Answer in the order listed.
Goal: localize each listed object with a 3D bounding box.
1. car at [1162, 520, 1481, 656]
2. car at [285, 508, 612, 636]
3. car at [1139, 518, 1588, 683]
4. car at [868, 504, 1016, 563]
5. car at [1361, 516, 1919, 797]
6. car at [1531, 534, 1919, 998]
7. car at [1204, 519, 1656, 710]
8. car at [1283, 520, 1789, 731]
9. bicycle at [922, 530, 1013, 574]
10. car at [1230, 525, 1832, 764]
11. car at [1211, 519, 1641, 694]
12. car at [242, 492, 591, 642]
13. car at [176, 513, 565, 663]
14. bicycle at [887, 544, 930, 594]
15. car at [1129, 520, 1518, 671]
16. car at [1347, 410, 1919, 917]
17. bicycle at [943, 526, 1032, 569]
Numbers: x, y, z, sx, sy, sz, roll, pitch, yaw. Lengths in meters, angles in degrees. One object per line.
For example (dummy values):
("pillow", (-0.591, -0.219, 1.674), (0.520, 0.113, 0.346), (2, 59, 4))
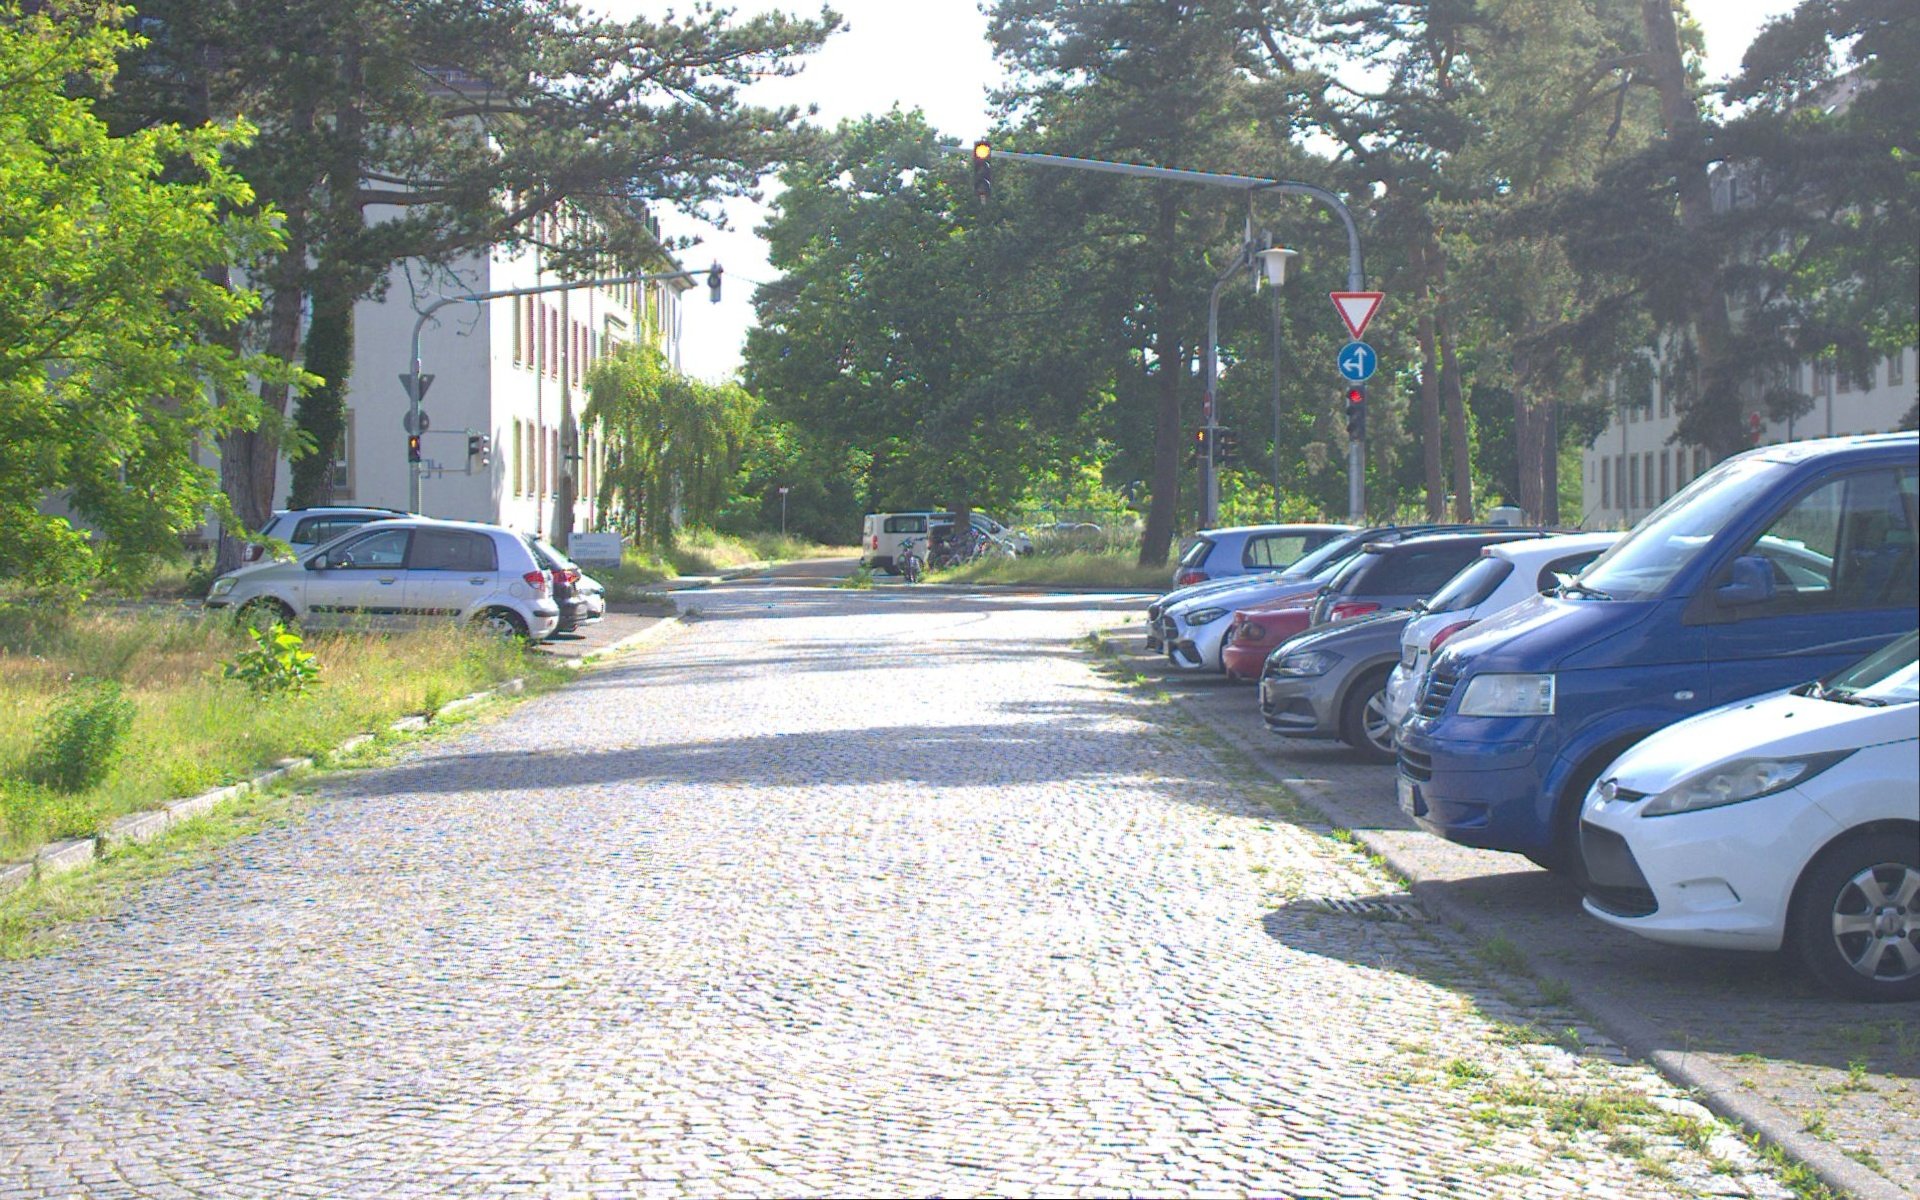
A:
("car", (4.001, -0.151, 38.402), (3.343, 1.477, 1.646), (0, 1, -2))
("car", (-6.703, -0.390, 45.366), (3.987, 1.448, 2.000), (3, 1, -1))
("car", (3.827, -0.017, 32.990), (4.033, 1.524, 1.646), (0, 1, -4))
("car", (-0.562, -2.035, 104.830), (4.480, 1.722, 2.000), (1, 1, -1))
("car", (4.287, 0.292, 19.956), (3.694, 1.460, 1.645), (-2, 1, 0))
("car", (4.033, 0.510, 12.101), (3.718, 1.483, 1.646), (-1, 1, -3))
("car", (3.835, 0.096, 28.451), (3.478, 1.524, 1.646), (0, 1, -2))
("car", (4.255, 0.165, 25.762), (3.478, 1.524, 1.646), (0, 1, -2))
("bicycle", (0.186, -1.221, 87.373), (2.172, 1.096, 0.807), (0, 1, -10))
("car", (3.728, 0.268, 22.842), (3.675, 1.462, 1.646), (-1, 1, -2))
("car", (4.143, 0.035, 30.913), (3.602, 1.524, 1.646), (0, 1, -2))
("car", (-6.739, -0.432, 42.963), (3.987, 1.596, 2.000), (3, 1, -1))
("car", (-6.382, -0.155, 37.579), (3.986, 1.595, 2.000), (0, 1, -3))
("bicycle", (-1.269, -0.774, 83.914), (0.804, 1.165, 2.181), (-2, 2, -7))
("car", (3.736, -0.063, 35.761), (3.835, 1.524, 1.646), (0, 1, -2))
("car", (4.163, 0.221, 14.775), (4.676, 2.007, 2.084), (0, 1, -3))
("bicycle", (0.709, -1.359, 88.739), (2.172, 1.096, 0.807), (0, 1, -10))
